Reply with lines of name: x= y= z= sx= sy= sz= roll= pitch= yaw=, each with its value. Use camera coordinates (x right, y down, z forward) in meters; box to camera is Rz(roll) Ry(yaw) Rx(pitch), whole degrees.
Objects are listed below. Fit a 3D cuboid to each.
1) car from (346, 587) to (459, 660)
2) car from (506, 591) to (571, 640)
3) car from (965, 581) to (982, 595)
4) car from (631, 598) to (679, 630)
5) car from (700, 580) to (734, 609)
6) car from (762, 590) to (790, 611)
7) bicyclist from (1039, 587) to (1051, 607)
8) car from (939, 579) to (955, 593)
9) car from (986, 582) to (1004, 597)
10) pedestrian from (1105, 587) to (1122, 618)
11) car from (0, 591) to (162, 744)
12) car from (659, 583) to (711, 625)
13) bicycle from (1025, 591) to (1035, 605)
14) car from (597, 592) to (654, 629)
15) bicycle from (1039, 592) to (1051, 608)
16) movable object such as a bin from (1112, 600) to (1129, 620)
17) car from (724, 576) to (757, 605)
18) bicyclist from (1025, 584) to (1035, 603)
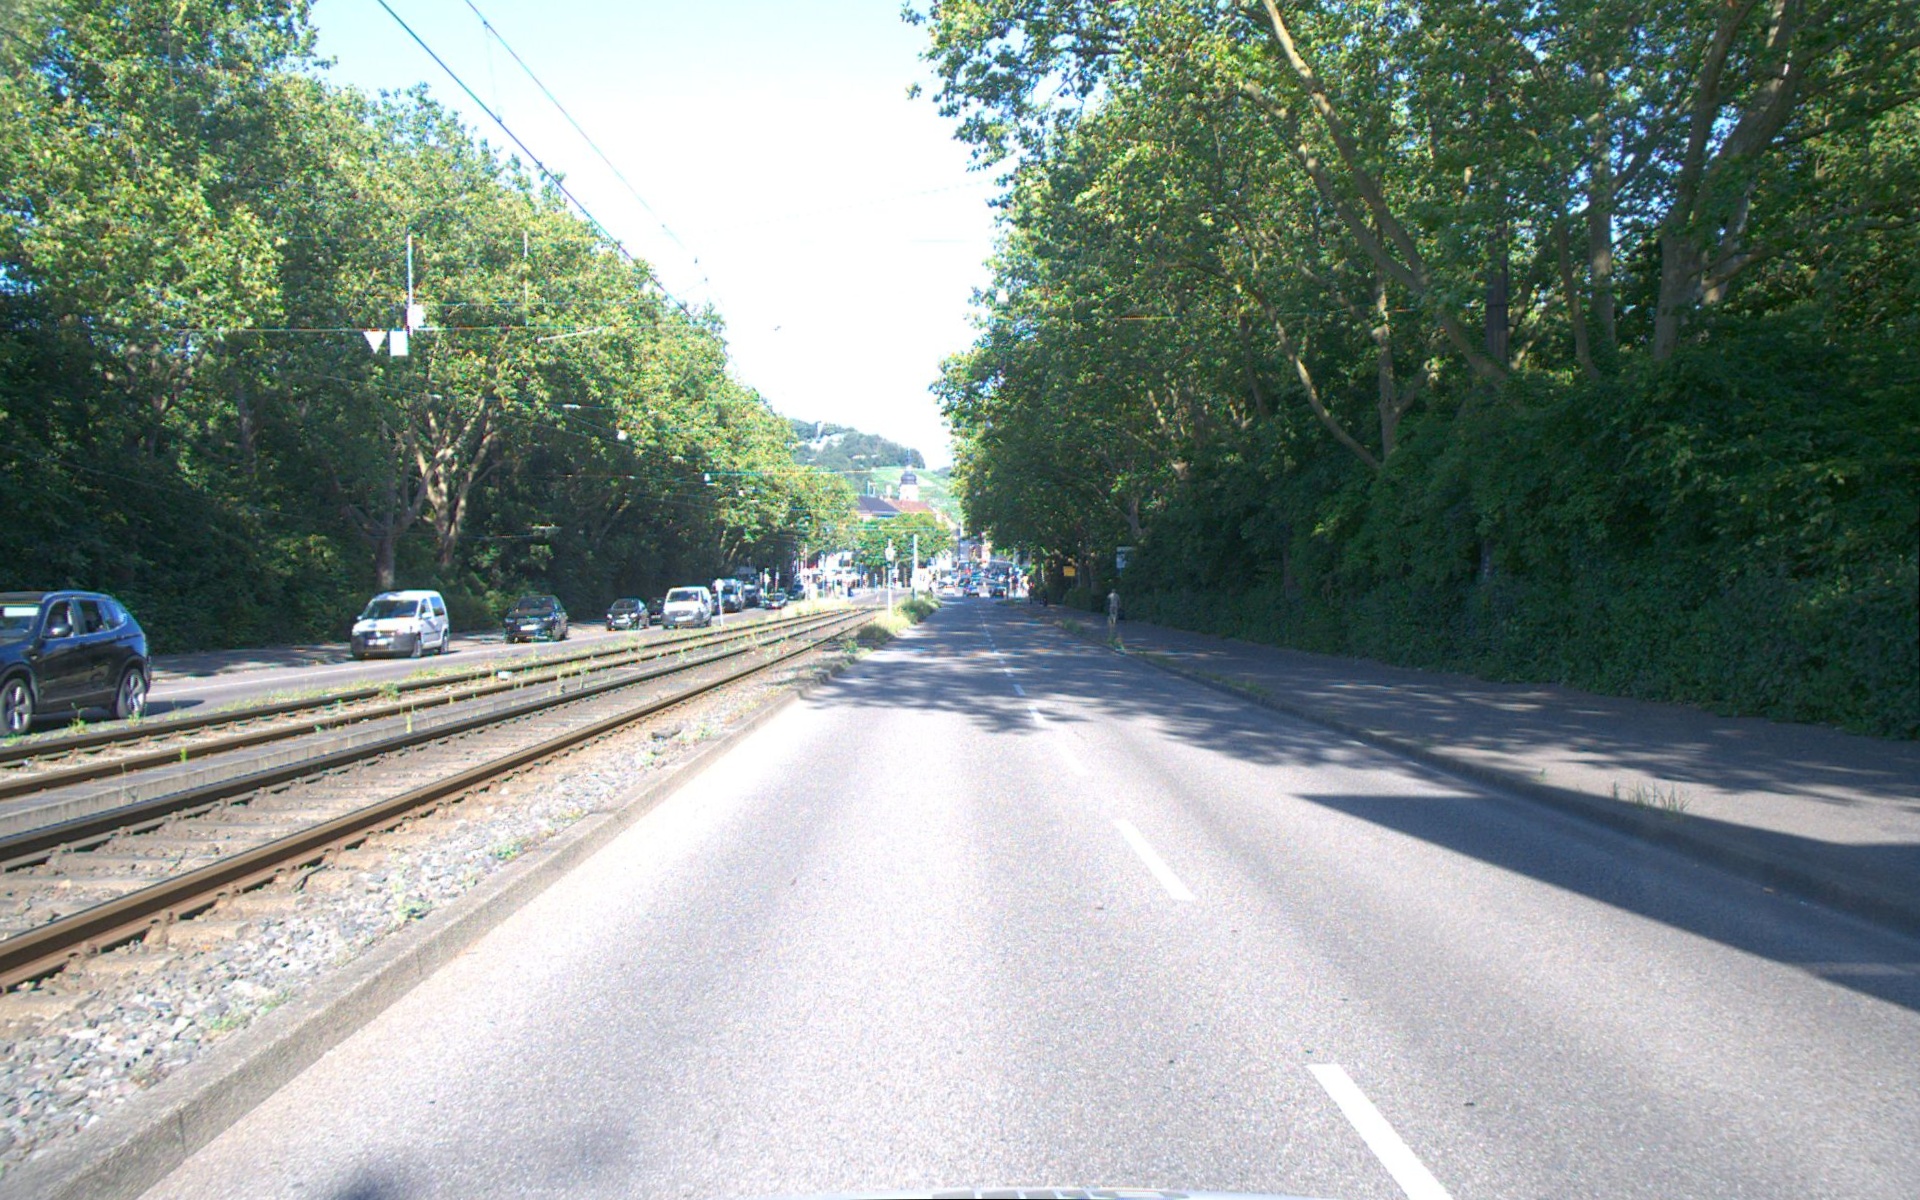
car: x=-15.403 y=0.600 z=45.915 sx=1.707 sy=1.773 sz=4.512 roll=-3 pitch=1 yaw=-3
car: x=-15.527 y=0.538 z=61.110 sx=1.708 sy=1.665 sz=3.996 roll=-1 pitch=1 yaw=-5
car: x=1.915 y=-1.777 z=240.784 sx=2.345 sy=2.034 sz=5.305 roll=-1 pitch=0 yaw=0
car: x=-17.277 y=0.783 z=93.806 sx=1.953 sy=1.726 sz=4.743 roll=-1 pitch=0 yaw=-2
car: x=-19.176 y=-0.446 z=130.781 sx=1.953 sy=2.201 sz=5.812 roll=-1 pitch=0 yaw=-2
car: x=-15.420 y=0.039 z=138.692 sx=1.953 sy=1.726 sz=4.743 roll=-1 pitch=0 yaw=-2
bicyclist: x=7.081 y=-0.282 z=138.004 sx=0.869 sy=1.667 sz=1.164 roll=0 pitch=0 yaw=0
car: x=-1.976 y=-2.130 z=250.383 sx=2.345 sy=2.034 sz=5.305 roll=-1 pitch=0 yaw=0
car: x=4.996 y=-1.484 z=236.135 sx=2.345 sy=2.034 sz=5.305 roll=-1 pitch=0 yaw=0
pedestrian: x=7.661 y=0.117 z=82.523 sx=0.787 sy=1.573 sz=0.814 roll=0 pitch=0 yaw=3
car: x=-11.568 y=0.760 z=20.122 sx=1.707 sy=1.651 sz=4.393 roll=-1 pitch=1 yaw=-2
car: x=-13.018 y=0.174 z=78.466 sx=1.954 sy=1.876 sz=5.297 roll=0 pitch=0 yaw=-4
bicycle: x=6.687 y=-0.209 z=158.508 sx=0.869 sy=1.344 sz=2.639 roll=0 pitch=0 yaw=0
car: x=-16.303 y=0.467 z=80.896 sx=1.953 sy=1.726 sz=4.743 roll=-1 pitch=0 yaw=-2
bicycle: x=7.089 y=0.008 z=137.907 sx=0.869 sy=1.344 sz=2.639 roll=0 pitch=0 yaw=0
movable object such as a bin: x=7.907 y=0.482 z=81.653 sx=0.787 sy=0.964 sz=0.656 roll=0 pitch=0 yaw=3
car: x=-20.364 y=-0.892 z=153.651 sx=2.345 sy=2.567 sz=5.899 roll=-1 pitch=0 yaw=0
bicyclist: x=6.692 y=-0.651 z=158.545 sx=0.869 sy=1.805 sz=1.222 roll=0 pitch=0 yaw=0
